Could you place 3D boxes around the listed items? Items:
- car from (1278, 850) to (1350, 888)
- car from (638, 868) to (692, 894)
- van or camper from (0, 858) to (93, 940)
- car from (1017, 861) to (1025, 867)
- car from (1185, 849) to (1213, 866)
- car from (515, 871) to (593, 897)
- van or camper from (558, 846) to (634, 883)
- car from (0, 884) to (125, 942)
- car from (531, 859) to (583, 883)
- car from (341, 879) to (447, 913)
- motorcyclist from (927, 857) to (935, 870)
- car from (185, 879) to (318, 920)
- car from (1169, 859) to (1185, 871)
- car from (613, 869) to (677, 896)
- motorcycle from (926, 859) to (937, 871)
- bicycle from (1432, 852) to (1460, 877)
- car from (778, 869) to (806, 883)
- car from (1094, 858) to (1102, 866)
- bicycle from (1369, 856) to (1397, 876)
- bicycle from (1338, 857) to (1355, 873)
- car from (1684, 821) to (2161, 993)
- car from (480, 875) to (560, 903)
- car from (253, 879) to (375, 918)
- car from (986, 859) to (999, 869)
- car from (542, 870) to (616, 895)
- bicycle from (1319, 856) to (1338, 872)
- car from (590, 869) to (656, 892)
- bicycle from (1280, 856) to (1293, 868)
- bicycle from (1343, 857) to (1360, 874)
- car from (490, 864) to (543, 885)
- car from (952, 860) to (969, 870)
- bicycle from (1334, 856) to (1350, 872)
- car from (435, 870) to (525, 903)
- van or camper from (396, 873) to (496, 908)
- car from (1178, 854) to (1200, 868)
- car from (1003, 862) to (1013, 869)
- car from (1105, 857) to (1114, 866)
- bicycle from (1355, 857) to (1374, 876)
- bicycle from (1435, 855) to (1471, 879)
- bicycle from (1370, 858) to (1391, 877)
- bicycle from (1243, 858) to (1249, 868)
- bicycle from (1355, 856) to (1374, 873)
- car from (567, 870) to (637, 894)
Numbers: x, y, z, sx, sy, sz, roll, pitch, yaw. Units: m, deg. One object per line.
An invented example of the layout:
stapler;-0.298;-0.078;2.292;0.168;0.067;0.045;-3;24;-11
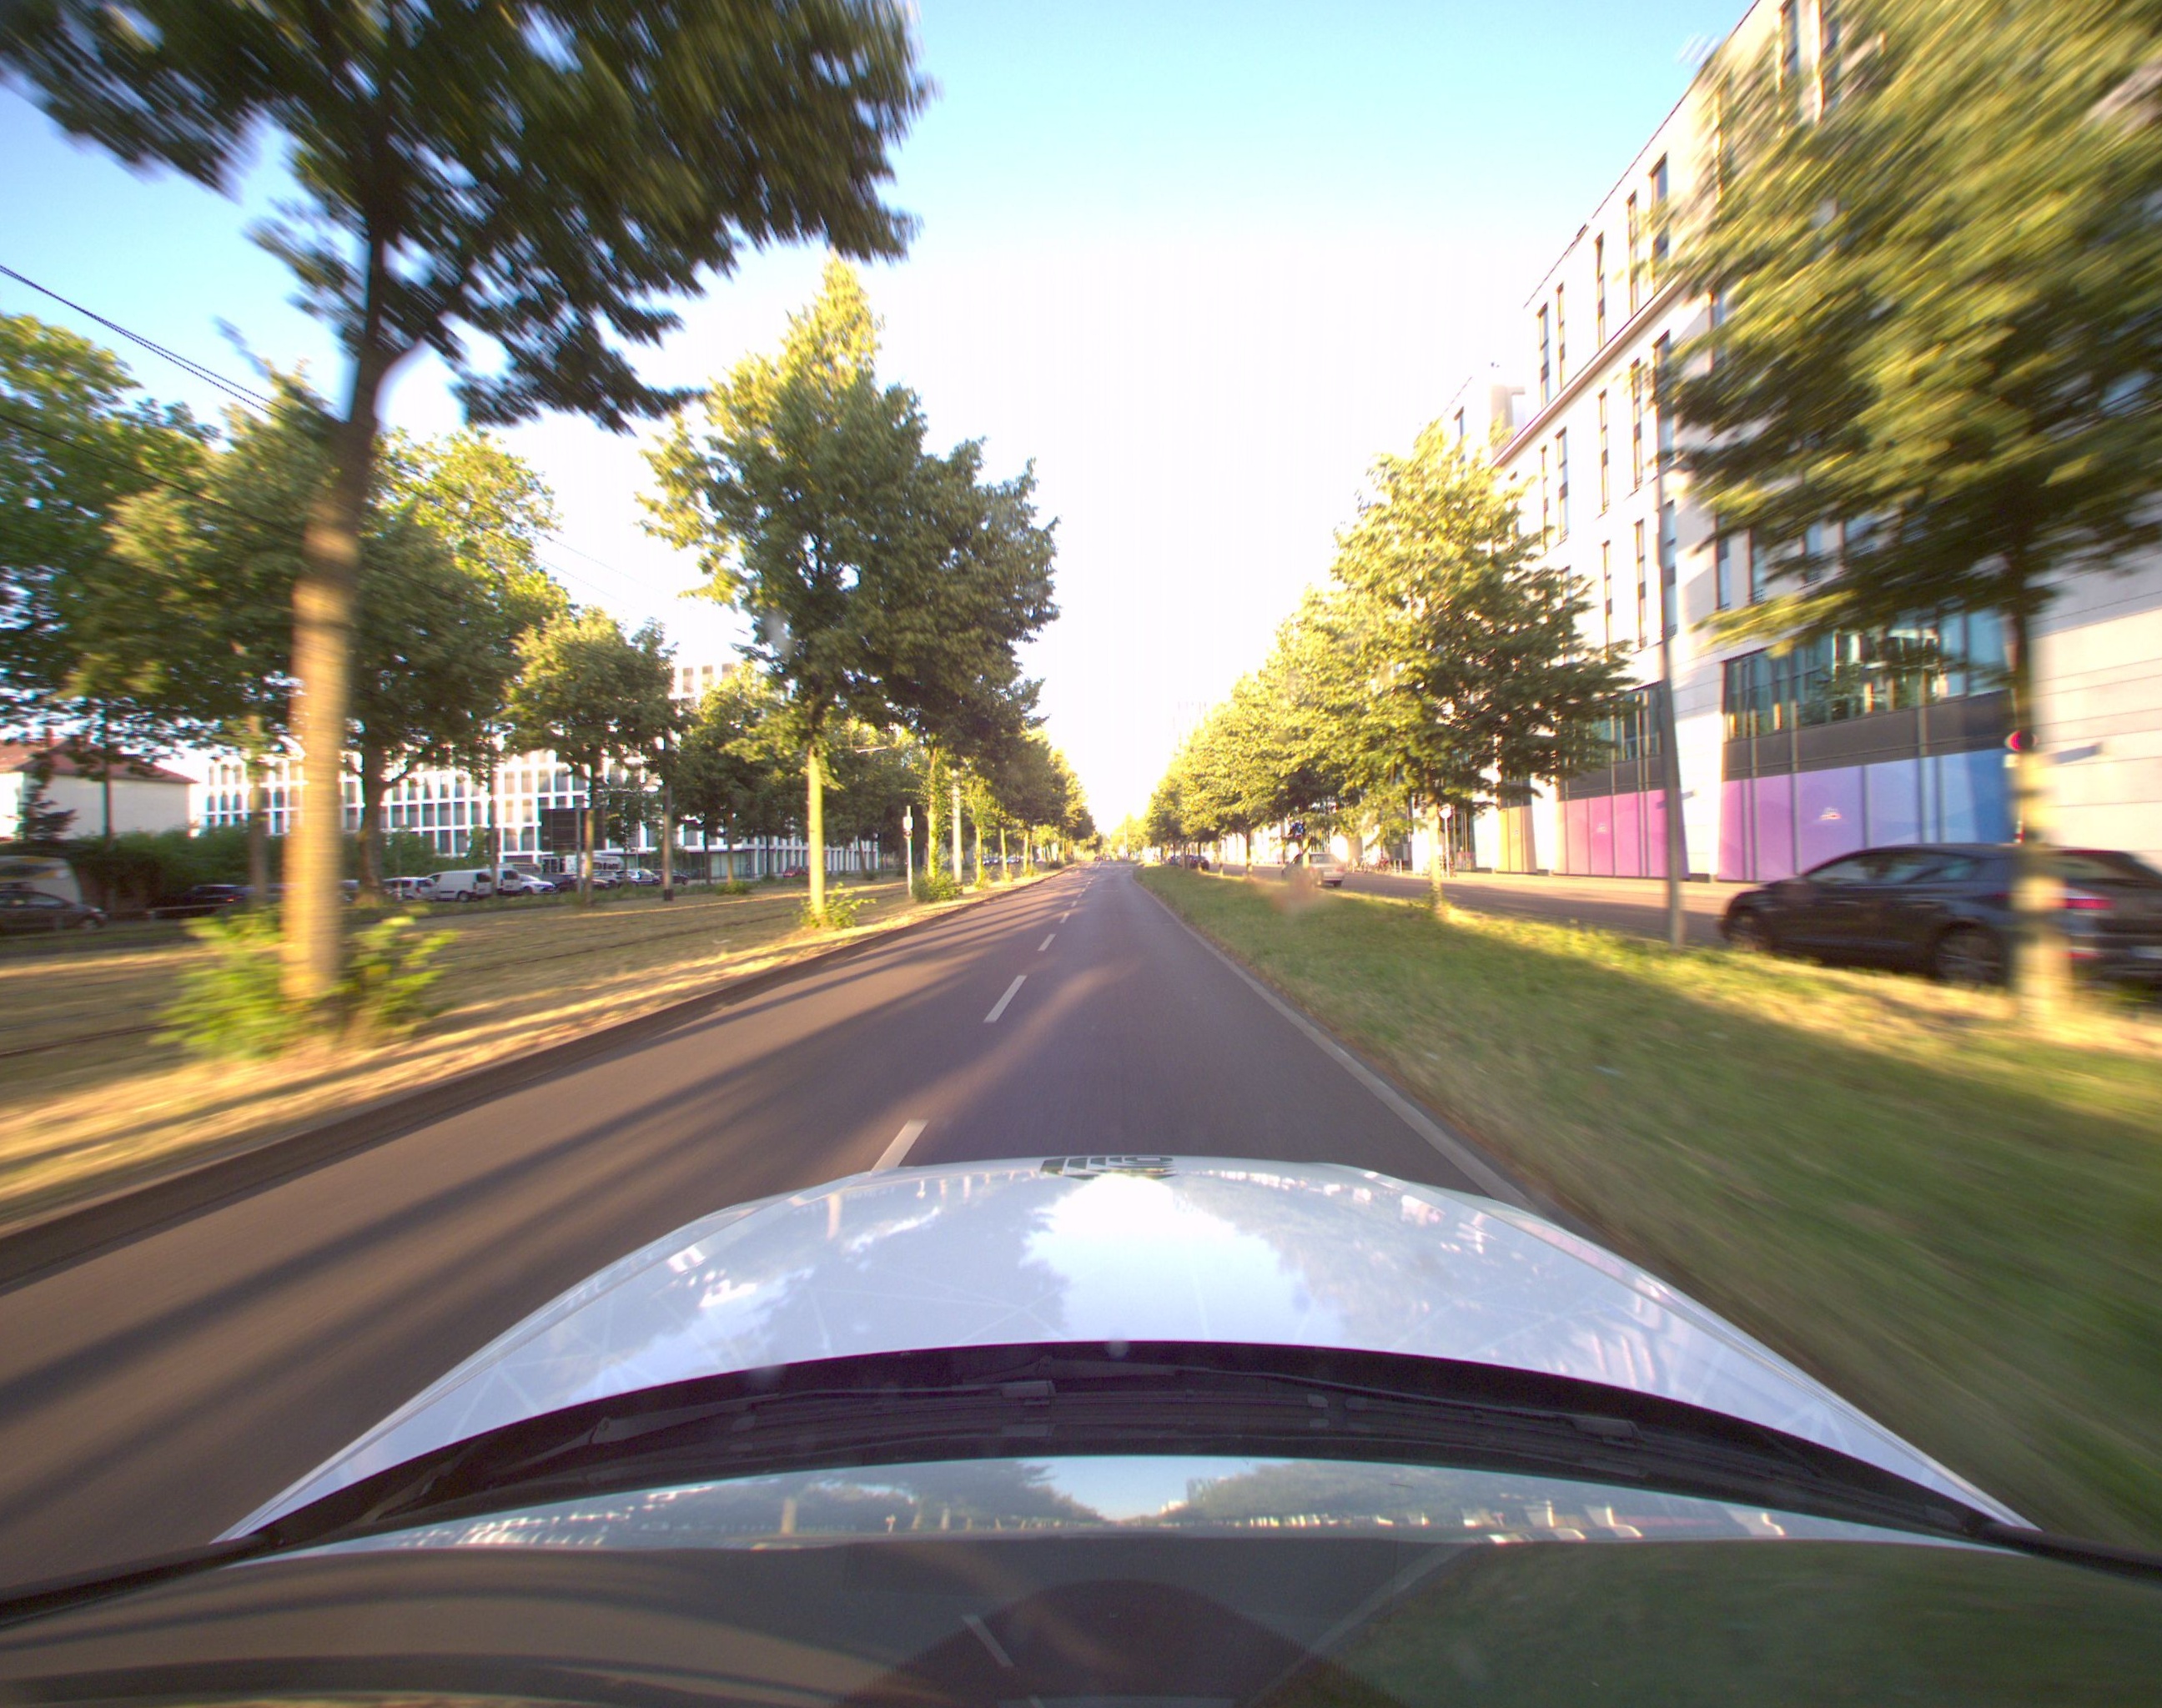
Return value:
car;10.052;0.617;35.466;1.802;1.501;4.826;-1;0;1
car;-35.672;2.270;69.983;1.986;2.014;4.933;-2;0;1
van or camper;-36.894;1.514;26.758;2.078;2.735;5.494;-2;-1;0
car;-15.585;2.577;212.727;1.770;1.411;3.708;-1;0;0
car;11.473;0.356;79.277;1.937;1.549;4.810;-2;0;0
car;-36.100;2.029;55.848;3.976;1.640;1.921;-1;0;-2
van or camper;-43.588;0.931;73.431;2.697;3.085;6.272;-1;0;5
car;-30.504;1.693;23.172;1.990;1.486;3.994;-1;-1;-4
car;-47.153;1.494;73.355;1.986;2.014;4.002;-1;-1;2
car;-36.992;2.221;43.931;3.976;1.640;1.921;-1;0;-2
motorcyclist;-16.765;1.040;91.096;0.678;1.375;0.804;-2;-1;1
car;-36.364;1.983;35.783;3.969;1.640;1.924;-1;0;3
car;12.412;1.443;105.372;1.718;1.530;4.269;0;0;1
car;-35.229;2.285;65.848;3.976;2.014;1.999;-2;-1;-2
motorcycle;-16.766;1.234;91.173;0.679;1.336;2.345;-2;0;1
bicycle;17.366;0.490;38.825;0.536;1.164;1.782;-3;0;2
car;-32.781;2.482;92.472;1.852;1.582;3.494;-1;0;3
car;4.763;2.177;226.866;2.080;2.013;4.001;-1;0;1
bicycle;16.844;0.655;45.503;0.533;1.061;1.850;-3;0;-11
bicycle;18.420;0.733;56.492;0.531;1.061;1.858;-3;0;2
car;9.219;0.464;9.248;1.717;1.501;4.234;0;0;2
car;-36.308;2.262;52.764;3.964;1.640;1.927;-1;0;8
car;-35.980;2.059;38.273;3.970;1.640;1.924;-1;0;3
car;-15.332;1.744;141.228;1.879;1.578;4.182;-2;0;0
car;-35.708;2.039;58.015;3.976;1.640;1.921;-1;0;-2
bicycle;17.120;0.667;56.417;0.533;1.061;1.776;-3;0;-7
car;-35.338;2.030;62.899;3.976;1.640;1.921;-1;0;-2
bicycle;18.194;0.712;72.183;0.650;1.039;2.056;-1;0;2
bicycle;17.622;0.731;53.063;0.531;1.061;1.858;-3;0;2
car;-52.553;1.914;75.944;1.907;1.811;4.005;-1;0;5
car;-18.489;1.730;125.193;1.911;1.508;4.288;-1;0;1
bicycle;17.773;0.669;55.559;0.531;1.061;1.858;-1;0;2
car;-36.819;1.958;49.942;3.971;1.844;2.013;-1;0;2
van or camper;-36.537;2.065;46.958;3.985;1.791;1.994;-2;0;-9
car;11.507;0.745;86.719;1.848;1.530;4.484;0;0;1
car;-14.802;2.304;165.910;1.651;1.332;4.529;-2;0;0
car;7.353;1.927;210.443;1.986;2.013;4.001;-1;0;1
bicycle;17.452;0.762;50.163;0.531;1.061;1.858;-3;0;2
bicycle;17.722;0.617;38.849;0.533;1.061;1.850;-3;0;-11
bicycle;17.347;0.786;47.214;0.531;1.061;1.858;-3;0;2
bicycle;18.752;1.032;92.327;0.567;1.124;1.840;-3;0;13
bicycle;18.107;0.676;52.005;0.531;1.061;1.858;-3;0;2
car;-35.582;2.040;60.567;3.976;1.640;1.921;-1;0;-2
